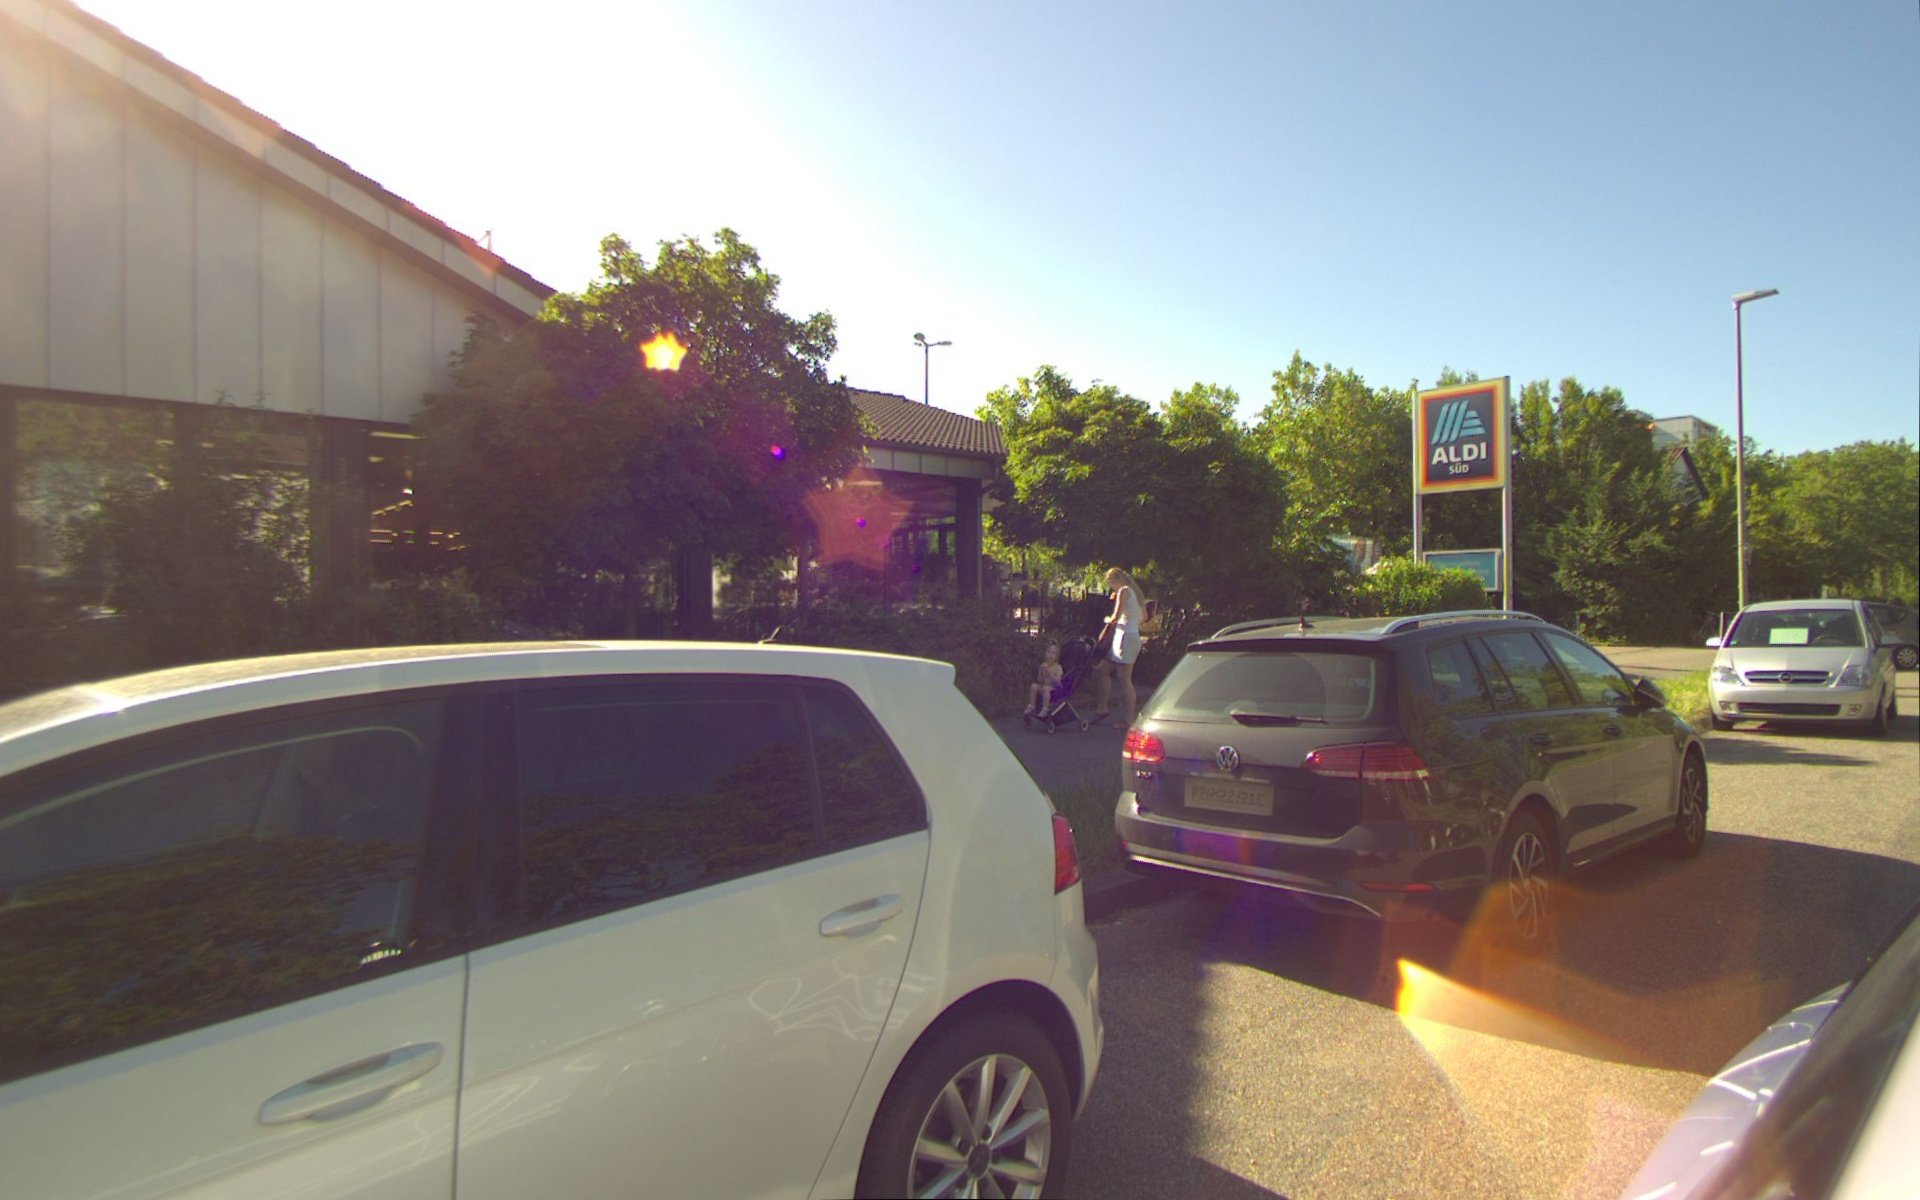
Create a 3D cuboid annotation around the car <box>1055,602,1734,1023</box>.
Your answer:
[{"bbox_3d":[2.669,0.757,5.662,4.287,1.462,1.810,0,-1,-41],"label":"car"}]

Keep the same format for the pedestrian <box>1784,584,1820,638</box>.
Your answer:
[{"bbox_3d":[27.816,0.339,33.420,0.968,1.738,0.804,-2,2,-44],"label":"pedestrian"}]

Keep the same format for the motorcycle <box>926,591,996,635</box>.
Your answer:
[{"bbox_3d":[0.062,0.443,36.063,2.552,1.528,0.871,0,-1,-41],"label":"motorcycle"}]

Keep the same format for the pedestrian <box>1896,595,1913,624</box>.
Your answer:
[{"bbox_3d":[55.531,0.551,59.487,0.629,1.659,0.641,0,-1,-38],"label":"pedestrian"}]

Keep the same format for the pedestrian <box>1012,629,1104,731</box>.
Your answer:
[{"bbox_3d":[1.028,0.821,10.647,0.794,0.993,0.534,0,-1,-33],"label":"pedestrian"}]

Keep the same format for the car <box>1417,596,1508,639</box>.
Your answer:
[{"bbox_3d":[18.828,0.632,37.873,3.736,1.522,1.775,0,0,-41],"label":"car"}]

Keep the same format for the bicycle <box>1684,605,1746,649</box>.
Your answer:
[{"bbox_3d":[23.167,0.817,31.047,1.857,1.235,0.724,-1,2,-25],"label":"bicycle"}]

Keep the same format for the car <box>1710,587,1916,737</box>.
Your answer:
[{"bbox_3d":[11.099,0.667,13.068,3.963,1.619,1.680,-1,0,-45],"label":"car"}]

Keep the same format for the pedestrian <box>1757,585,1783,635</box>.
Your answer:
[{"bbox_3d":[27.245,0.331,34.037,0.780,1.629,0.573,-2,2,-45],"label":"pedestrian"}]

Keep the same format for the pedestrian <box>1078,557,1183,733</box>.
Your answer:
[{"bbox_3d":[1.832,0.460,10.908,0.793,1.804,0.801,0,-1,-33],"label":"pedestrian"}]

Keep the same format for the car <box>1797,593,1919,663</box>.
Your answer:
[{"bbox_3d":[23.198,0.660,24.765,3.696,1.666,1.850,0,0,11],"label":"car"}]

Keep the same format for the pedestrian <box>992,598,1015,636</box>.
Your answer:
[{"bbox_3d":[1.938,0.735,45.332,0.814,1.677,0.672,1,-1,-42],"label":"pedestrian"}]

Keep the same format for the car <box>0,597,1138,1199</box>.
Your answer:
[{"bbox_3d":[-1.622,0.756,1.854,3.932,1.470,1.828,-1,0,-43],"label":"car"}]
